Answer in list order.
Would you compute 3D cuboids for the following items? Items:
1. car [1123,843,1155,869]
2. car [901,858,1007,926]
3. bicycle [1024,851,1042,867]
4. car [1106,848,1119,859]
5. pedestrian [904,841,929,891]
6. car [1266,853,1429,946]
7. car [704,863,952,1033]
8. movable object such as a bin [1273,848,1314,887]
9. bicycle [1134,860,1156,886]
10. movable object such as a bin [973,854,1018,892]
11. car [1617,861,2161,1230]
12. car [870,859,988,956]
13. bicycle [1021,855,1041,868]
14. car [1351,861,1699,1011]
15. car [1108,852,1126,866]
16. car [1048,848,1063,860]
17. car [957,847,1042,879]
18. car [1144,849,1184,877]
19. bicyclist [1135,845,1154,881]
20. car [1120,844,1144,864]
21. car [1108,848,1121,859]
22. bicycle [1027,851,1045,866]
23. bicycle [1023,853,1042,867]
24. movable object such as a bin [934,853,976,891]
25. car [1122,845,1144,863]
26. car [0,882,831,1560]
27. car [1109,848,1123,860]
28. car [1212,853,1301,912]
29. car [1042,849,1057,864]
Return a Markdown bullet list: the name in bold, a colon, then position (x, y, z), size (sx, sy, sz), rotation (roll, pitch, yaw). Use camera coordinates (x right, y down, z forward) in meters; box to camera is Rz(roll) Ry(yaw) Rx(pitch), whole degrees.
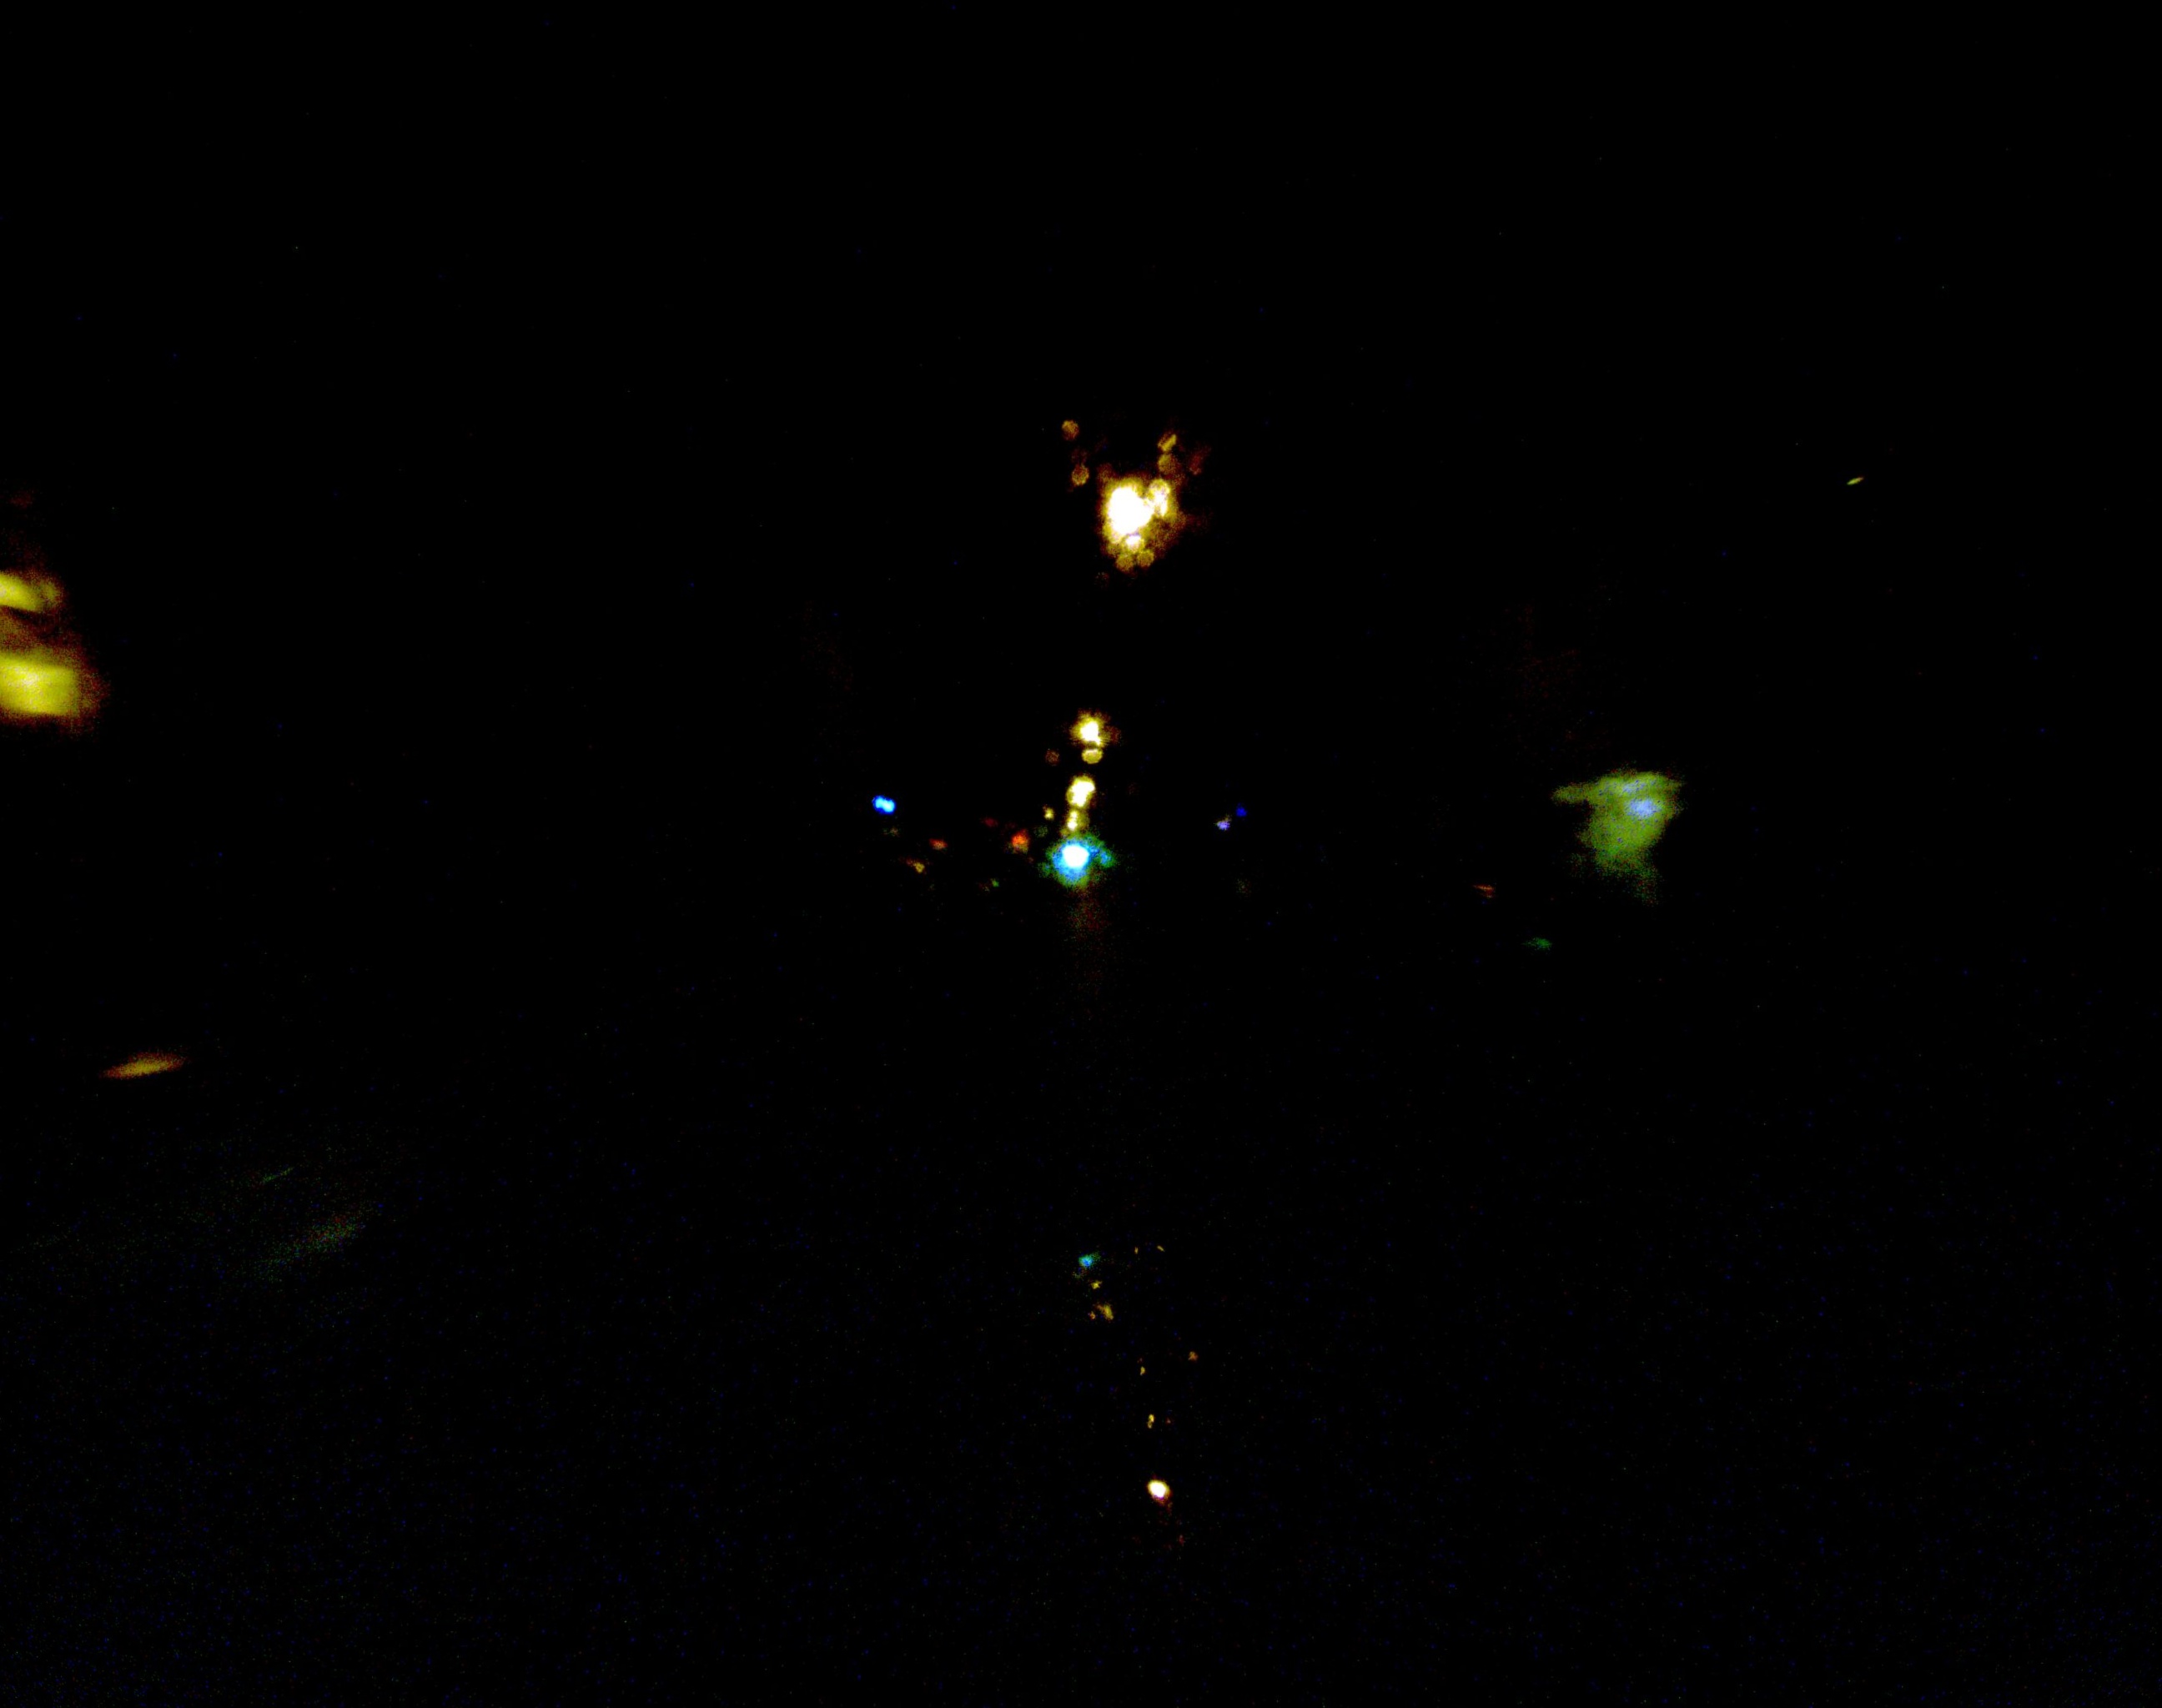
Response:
- **car**: position (4.327, 0.113, 57.372), size (2.001, 1.819, 5.206), rotation (-1, 0, 0)
- **car**: position (-3.088, 0.864, 19.451), size (1.999, 1.455, 4.415), rotation (0, 1, -1)
- **bicycle**: position (-4.235, 0.441, 67.160), size (1.533, 1.195, 0.366), rotation (5, 2, -2)
- **car**: position (4.380, -0.101, 106.375), size (1.697, 1.470, 3.963), rotation (-1, -1, 1)
- **pedestrian**: position (-5.989, 0.435, 27.623), size (0.704, 1.778, 0.624), rotation (1, 0, 3)
- **car**: position (5.124, 0.789, 15.224), size (1.779, 1.563, 4.133), rotation (0, 1, -1)
- **car**: position (-2.676, 0.900, 9.020), size (1.694, 1.490, 3.890), rotation (0, 1, -1)
- **movable object such as a bin**: position (8.133, 0.517, 29.138), size (1.104, 1.446, 1.378), rotation (0, 1, -2)
- **bicycle**: position (2.804, 0.820, 33.567), size (0.729, 1.066, 2.348), rotation (0, 1, -1)
- **movable object such as a bin**: position (-3.368, 0.739, 29.863), size (1.344, 1.421, 1.198), rotation (-1, 1, -37)
- **car**: position (5.471, 0.830, 4.286), size (1.837, 1.472, 4.306), rotation (-1, 1, 0)
- **car**: position (-2.698, 0.879, 14.282), size (1.694, 1.490, 3.889), rotation (0, 1, -4)
- **bicycle**: position (-4.129, 0.612, 62.863), size (1.533, 0.947, 0.366), rotation (5, 2, -4)
- **car**: position (5.173, 0.832, 9.712), size (1.827, 1.382, 4.424), rotation (0, 1, -1)
- **car**: position (3.996, 0.540, 84.644), size (1.731, 1.384, 4.554), rotation (-1, 0, 0)
- **car**: position (-3.312, 0.026, 100.798), size (1.846, 1.498, 4.161), rotation (0, 1, 0)
- **car**: position (-4.485, 0.470, 42.300), size (4.524, 1.522, 1.780), rotation (3, 1, -1)
- **car**: position (4.877, 0.481, 45.135), size (1.772, 1.474, 4.771), rotation (-4, 0, 0)
- **bicyclist**: position (2.799, 0.387, 33.644), size (0.720, 1.547, 0.895), rotation (0, 1, -1)
- **car**: position (4.824, 0.008, 72.407), size (1.907, 1.819, 4.828), rotation (-1, 0, 0)
- **car**: position (4.491, -0.065, 102.346), size (1.696, 1.470, 3.385), rotation (-1, -1, 3)
- **bicycle**: position (-4.014, 0.422, 67.613), size (1.532, 1.195, 0.366), rotation (5, 2, 2)
- **bicycle**: position (-4.242, 0.521, 66.030), size (1.533, 1.018, 0.366), rotation (5, 2, -2)
- **movable object such as a bin**: position (-4.845, 0.689, 29.321), size (1.311, 1.421, 1.051), rotation (0, 1, 9)
- **car**: position (4.345, 0.022, 63.646), size (1.573, 1.451, 3.719), rotation (-1, 0, 0)
- **car**: position (-2.824, 0.933, 3.754), size (1.922, 1.404, 3.999), rotation (0, 1, -1)
- **car**: position (4.417, -0.004, 96.164), size (1.532, 1.445, 3.383), rotation (-1, 0, 0)
- **car**: position (5.006, 0.750, 22.119), size (1.676, 1.482, 3.721), rotation (-2, 1, -1)
- **car**: position (-3.678, 0.319, 89.274), size (1.676, 1.712, 3.856), rotation (0, 1, 0)
